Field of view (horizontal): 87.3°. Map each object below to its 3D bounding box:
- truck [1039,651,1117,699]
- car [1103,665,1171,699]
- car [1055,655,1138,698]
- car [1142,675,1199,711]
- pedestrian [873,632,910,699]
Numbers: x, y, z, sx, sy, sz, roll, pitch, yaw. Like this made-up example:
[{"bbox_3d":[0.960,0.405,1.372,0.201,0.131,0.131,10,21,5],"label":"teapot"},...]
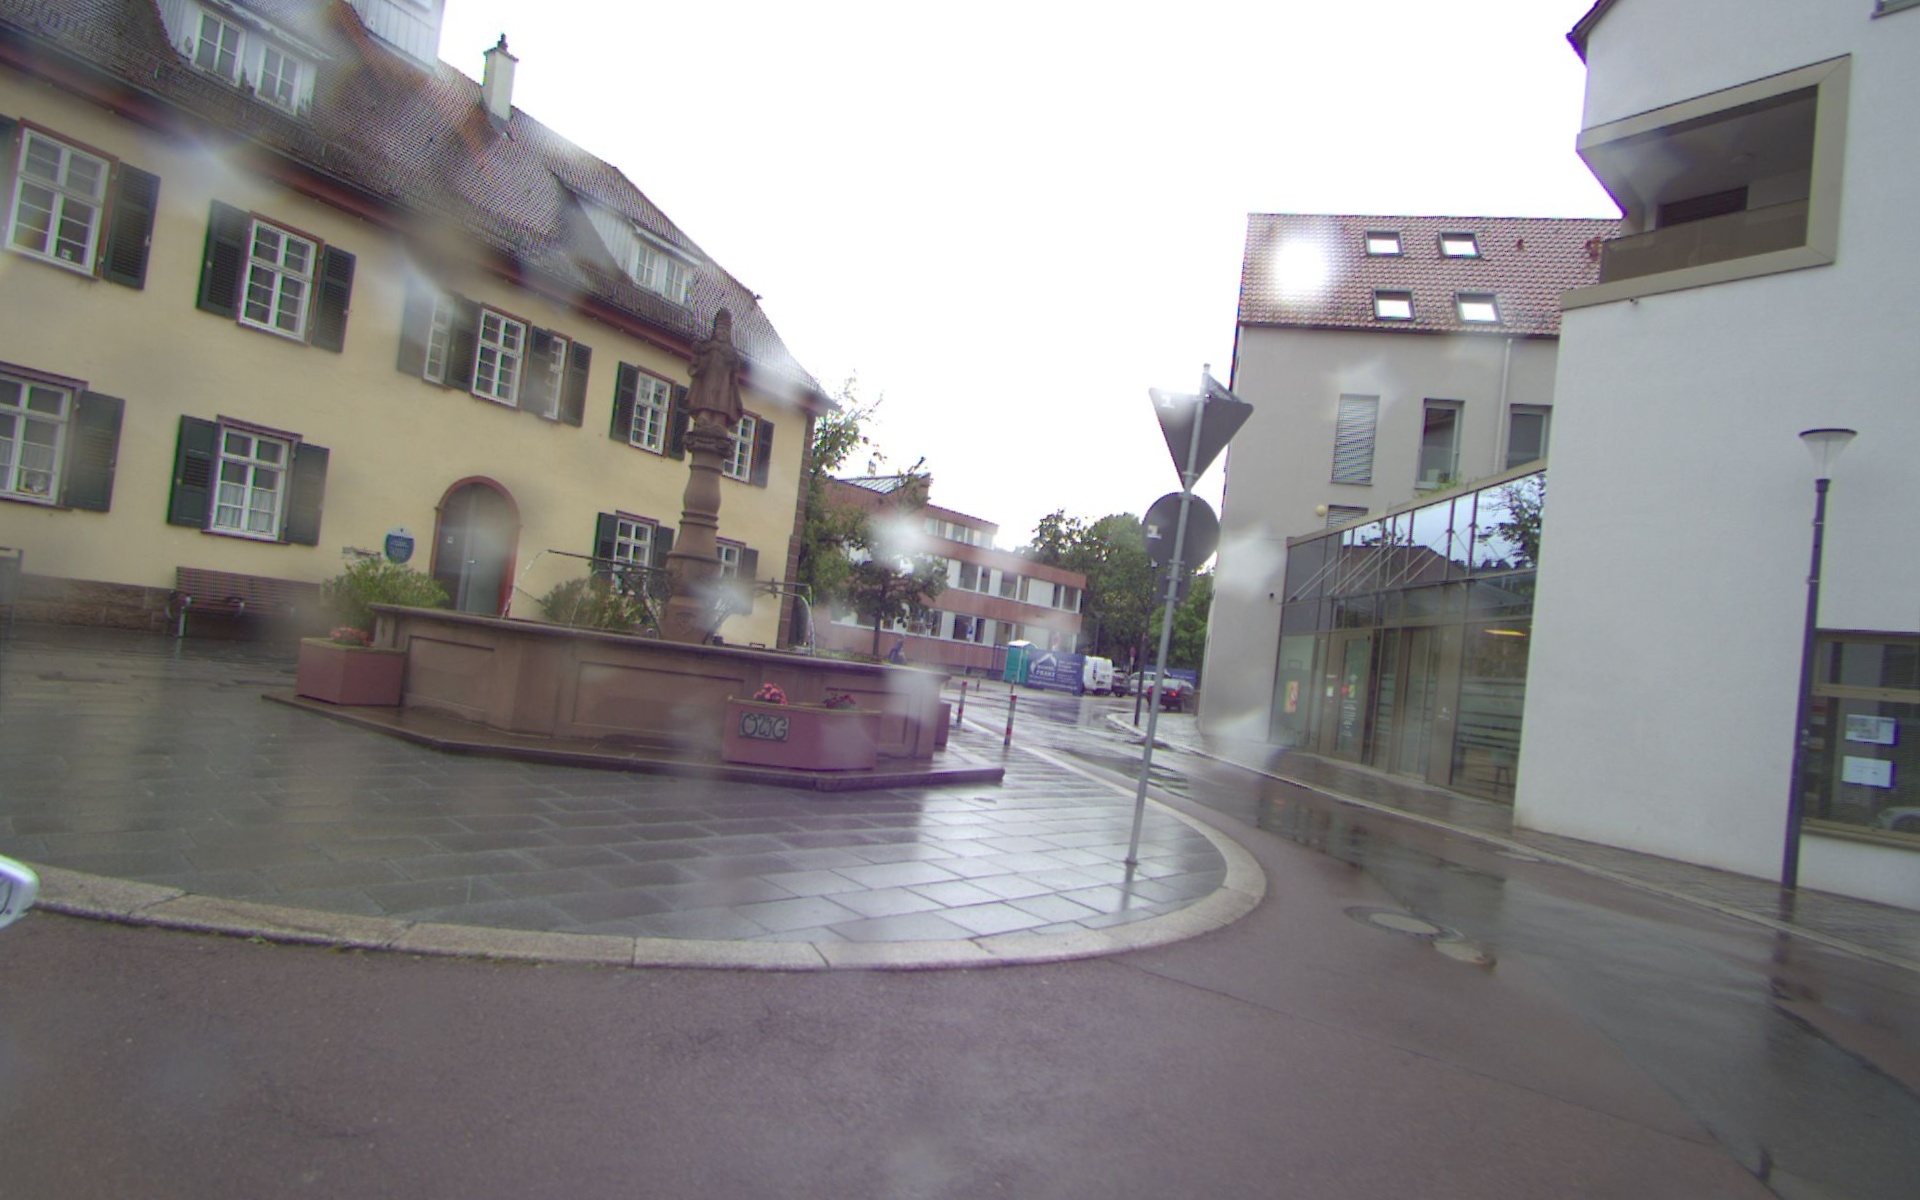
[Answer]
[{"bbox_3d":[6.249,3.989,53.444,3.490,2.037,1.862,6,-2,32],"label":"truck"},{"bbox_3d":[10.699,4.980,60.935,3.490,1.566,1.862,6,-2,32],"label":"car"},{"bbox_3d":[7.636,4.295,56.337,3.934,1.814,1.998,6,-2,31],"label":"car"},{"bbox_3d":[9.852,4.365,46.981,1.643,1.379,3.606,6,-2,27],"label":"car"},{"bbox_3d":[-1.994,1.897,29.297,0.777,1.843,0.687,7,-1,5],"label":"pedestrian"}]
